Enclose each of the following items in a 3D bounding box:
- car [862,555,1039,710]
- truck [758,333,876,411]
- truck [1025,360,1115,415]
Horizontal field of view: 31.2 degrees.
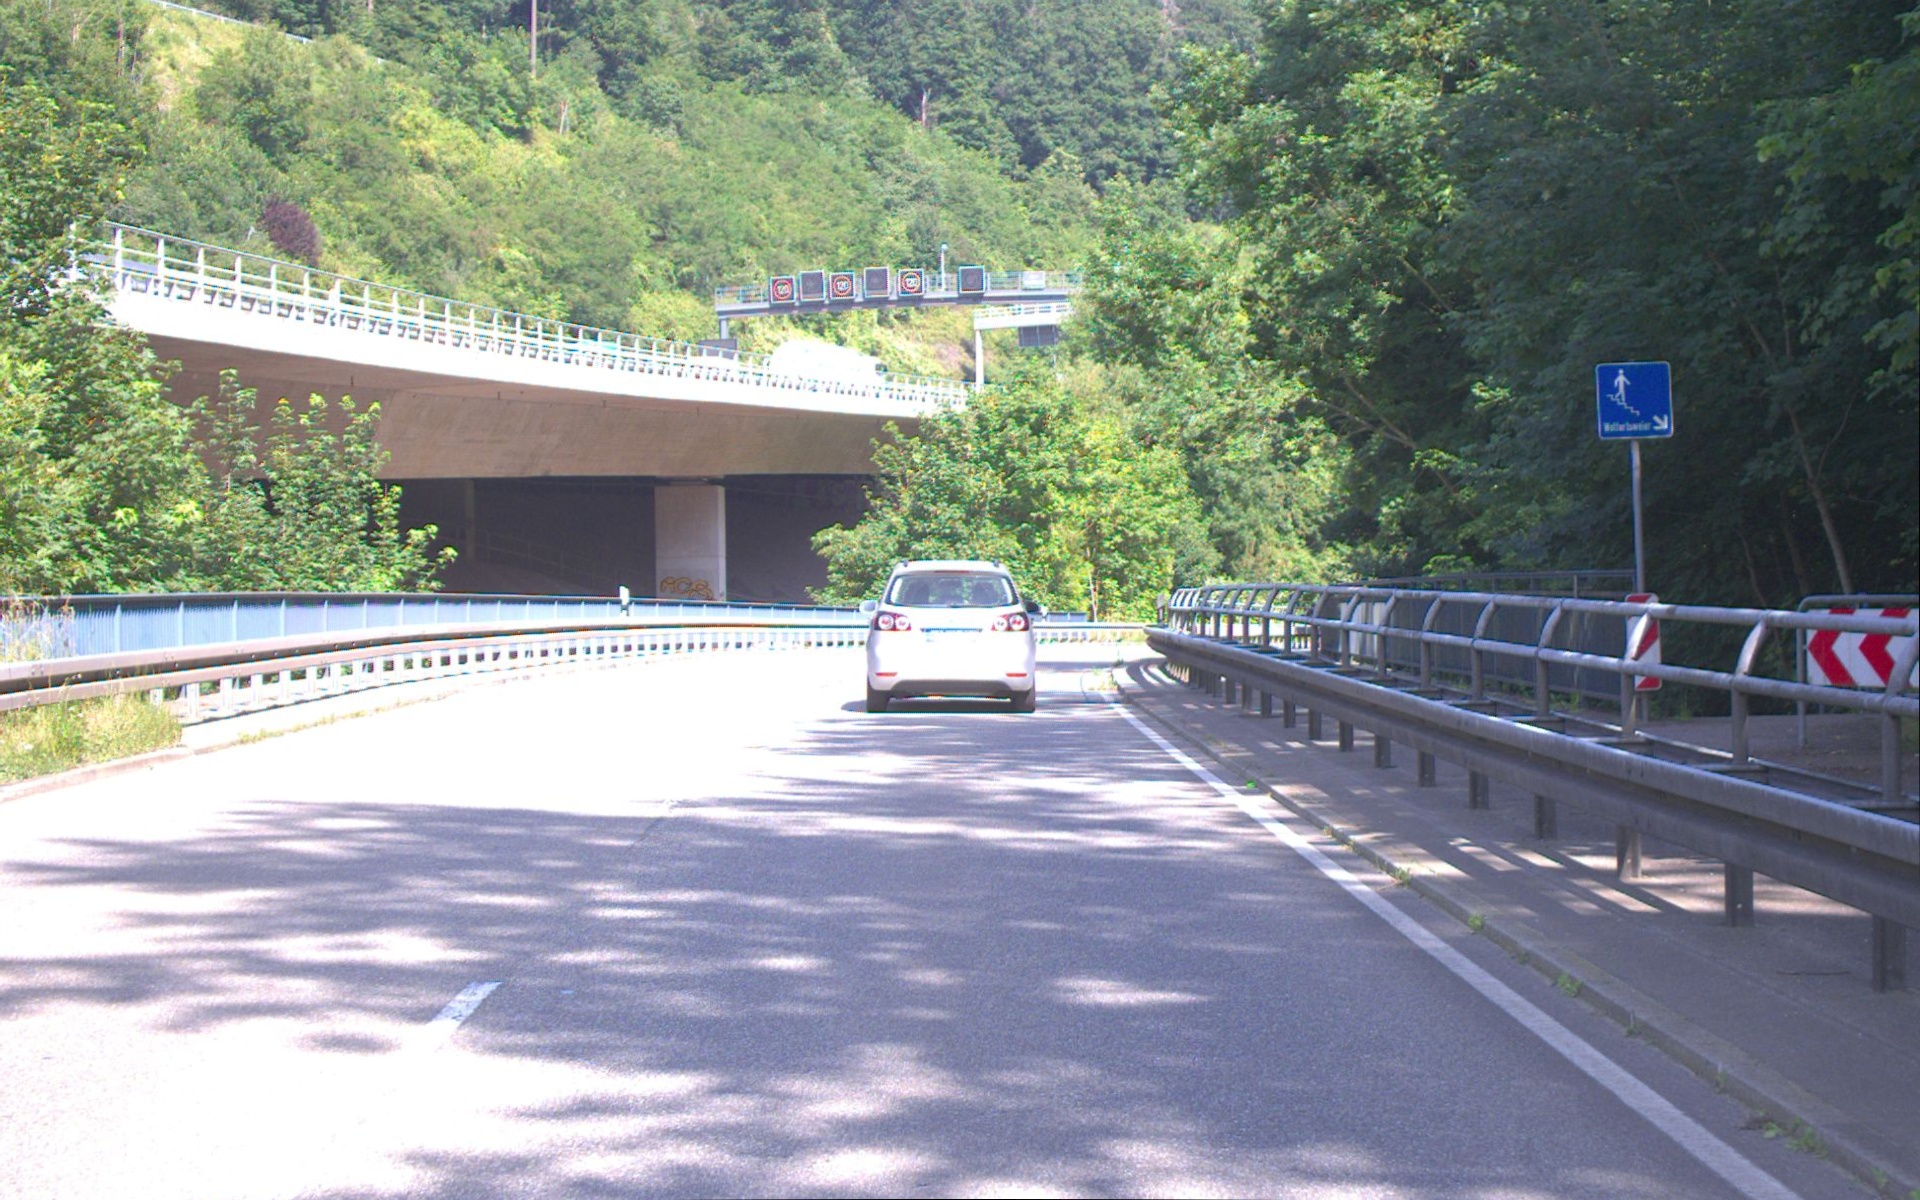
[{"bbox_3d":[-0.102,0.294,36.265,1.751,1.515,4.159,1,1,0],"label":"car"},{"bbox_3d":[-6.979,-11.185,169.438,3.372,3.343,10.171,1,2,12],"label":"truck"},{"bbox_3d":[7.419,-14.181,230.284,3.762,3.373,10.501,1,2,15],"label":"truck"}]
